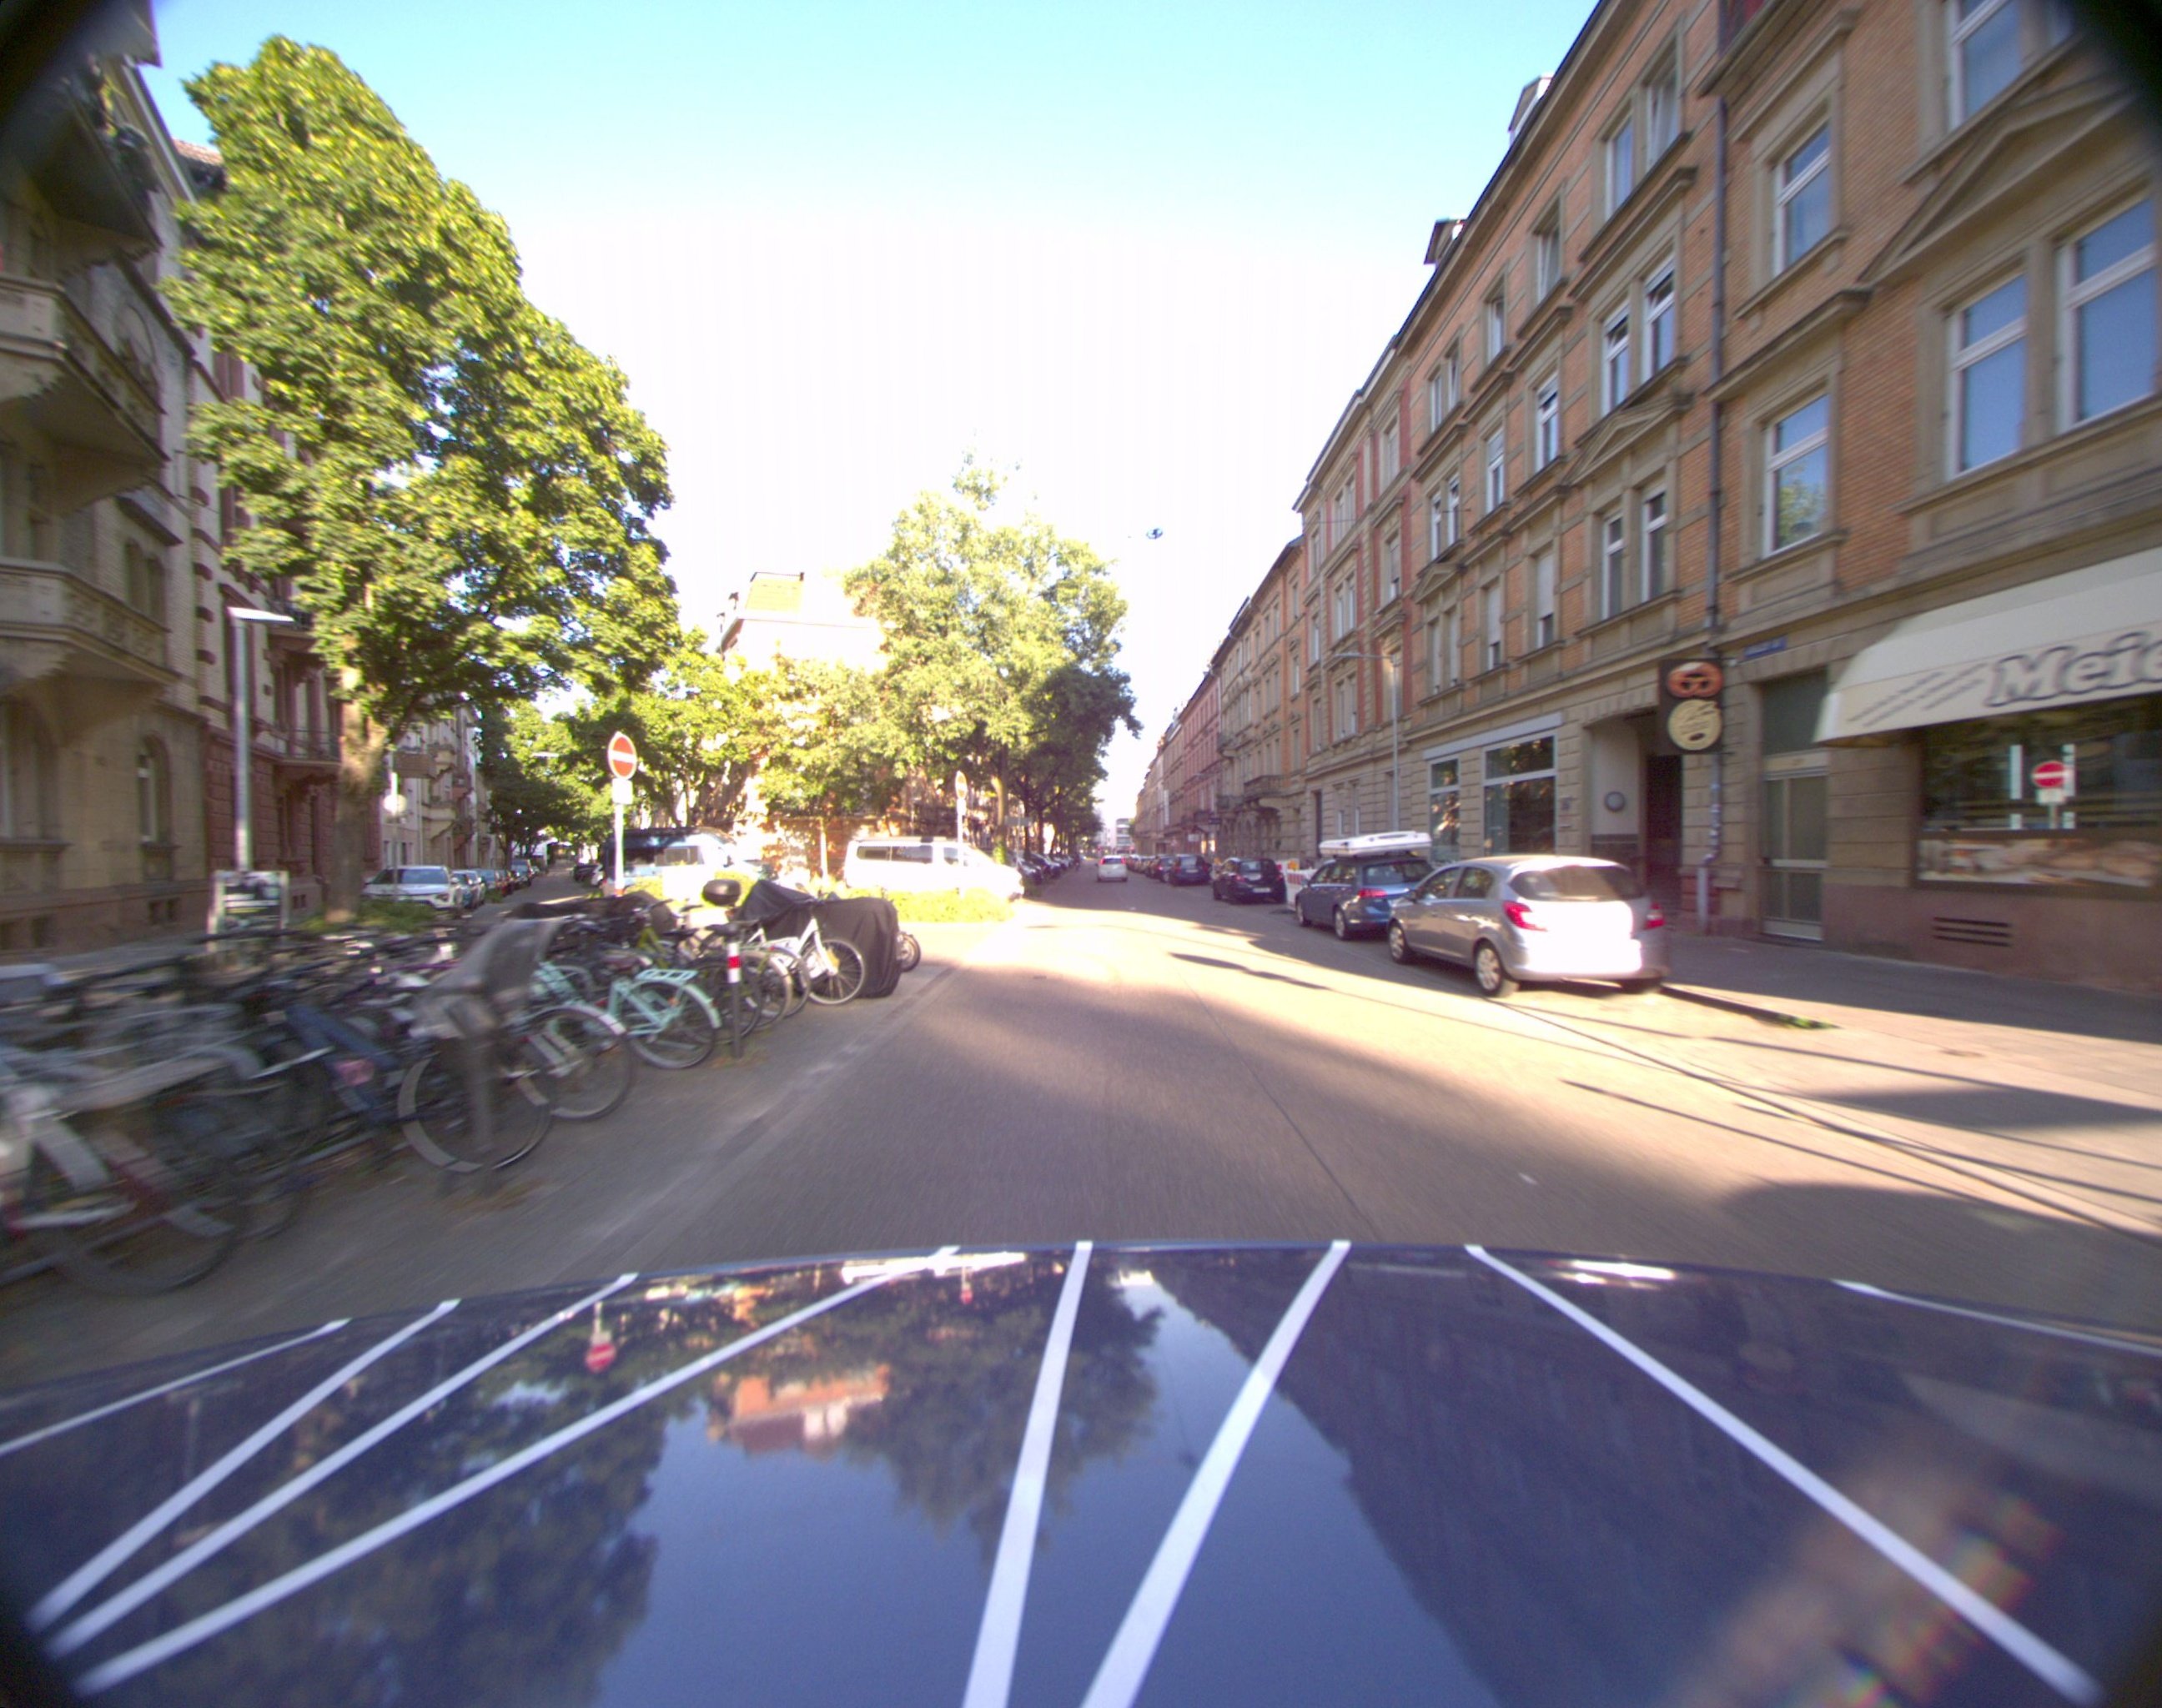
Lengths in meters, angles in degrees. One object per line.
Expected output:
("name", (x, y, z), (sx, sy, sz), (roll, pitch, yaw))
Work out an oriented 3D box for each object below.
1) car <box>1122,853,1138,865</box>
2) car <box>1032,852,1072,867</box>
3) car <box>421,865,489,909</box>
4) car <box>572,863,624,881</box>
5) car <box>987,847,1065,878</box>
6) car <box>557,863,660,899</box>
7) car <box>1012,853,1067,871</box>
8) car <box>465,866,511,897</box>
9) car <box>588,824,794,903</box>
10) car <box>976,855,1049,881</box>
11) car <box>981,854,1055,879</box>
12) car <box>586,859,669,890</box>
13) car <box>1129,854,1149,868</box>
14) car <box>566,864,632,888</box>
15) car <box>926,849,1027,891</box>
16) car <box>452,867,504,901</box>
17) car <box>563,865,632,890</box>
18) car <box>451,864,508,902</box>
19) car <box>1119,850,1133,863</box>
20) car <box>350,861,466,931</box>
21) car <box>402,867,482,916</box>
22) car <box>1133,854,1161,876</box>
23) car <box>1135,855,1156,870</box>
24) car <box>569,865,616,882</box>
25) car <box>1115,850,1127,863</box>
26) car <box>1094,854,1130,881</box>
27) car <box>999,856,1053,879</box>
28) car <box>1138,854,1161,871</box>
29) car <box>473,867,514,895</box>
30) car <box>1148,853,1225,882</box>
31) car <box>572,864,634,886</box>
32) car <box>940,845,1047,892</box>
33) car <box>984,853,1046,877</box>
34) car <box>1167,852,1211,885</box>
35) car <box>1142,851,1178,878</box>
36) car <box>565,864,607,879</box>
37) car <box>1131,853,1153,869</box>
("car", (6.413, 0.622, 99.555), (1.761, 1.464, 4.088), (-1, 0, 0))
("car", (-3.299, 0.618, 86.634), (4.487, 1.647, 1.891), (-1, 2, 0))
("car", (-25.164, 1.271, 30.651), (1.871, 1.573, 4.233), (-1, 0, -36))
("car", (-49.357, 1.836, 77.733), (4.001, 1.710, 1.780), (-2, 1, -11))
("car", (-3.733, 0.543, 52.105), (5.104, 1.930, 2.157), (-1, 4, 1))
("car", (-23.720, 1.327, 38.297), (4.002, 1.556, 1.779), (-2, 1, -14))
("car", (-3.537, 0.702, 65.522), (4.563, 1.520, 2.000), (0, 0, 2))
("car", (-32.896, 1.475, 42.242), (1.871, 1.573, 4.233), (-1, 0, -36))
("car", (-13.476, 0.305, 26.641), (5.912, 2.522, 2.379), (-1, 1, -5))
("car", (-3.979, 0.790, 44.505), (4.091, 1.489, 1.843), (0, 0, 1))
("car", (-3.820, 0.764, 46.712), (4.380, 1.447, 1.934), (0, 0, 1))
("car", (-27.908, 1.266, 46.868), (4.001, 1.710, 1.780), (-2, 1, -11))
("car", (6.148, 0.706, 81.459), (1.825, 1.417, 4.313), (-2, 0, 1))
("car", (-38.369, 1.739, 60.516), (4.001, 1.710, 1.780), (-2, 1, -11))
("car", (-4.310, 0.651, 31.905), (3.997, 1.682, 1.800), (0, 0, -1))
("car", (-30.331, 1.465, 38.332), (1.871, 1.573, 4.233), (-1, 0, -36))
("car", (-37.161, 1.811, 58.490), (4.001, 1.710, 1.780), (-2, 1, -11))
("car", (-27.338, 1.278, 34.636), (1.871, 1.573, 4.233), (-1, 0, -36))
("car", (6.744, 0.331, 114.989), (1.847, 1.822, 4.606), (-2, 0, 0))
("car", (-17.564, 1.006, 20.028), (1.784, 1.601, 4.207), (-1, 0, -35))
("car", (-22.345, 1.249, 26.714), (1.871, 1.466, 4.233), (-1, 0, -36))
("car", (4.738, 0.769, 54.810), (1.651, 1.464, 4.000), (-3, 0, 1))
("car", (5.916, 0.780, 70.039), (1.709, 1.315, 4.101), (0, 0, 1))
("car", (-54.984, 2.187, 85.568), (4.001, 1.710, 1.780), (-2, 1, -11))
("car", (6.976, 0.419, 132.286), (1.947, 2.045, 4.745), (-2, 0, 1))
("car", (1.746, 0.759, 44.171), (1.754, 1.500, 3.999), (-1, 0, -2))
("car", (-4.092, 1.014, 56.804), (3.894, 1.639, 1.724), (0, 0, -1))
("car", (5.881, 0.726, 65.359), (1.709, 1.430, 3.959), (0, 0, 1))
("car", (-35.951, 1.596, 46.567), (1.871, 1.573, 4.233), (-1, 0, -36))
("car", (5.882, 0.738, 42.560), (3.999, 1.521, 1.825), (0, 0, -5))
("car", (-40.950, 1.806, 65.176), (4.001, 1.710, 1.780), (-2, 1, -11))
("car", (-3.892, 0.629, 34.413), (4.627, 2.002, 2.000), (-1, 0, -1))
("car", (-4.320, 0.721, 49.561), (3.999, 1.466, 1.781), (1, 0, -7))
("car", (5.452, 0.691, 38.785), (1.745, 1.558, 3.895), (0, 0, 1))
("car", (5.185, 0.668, 50.223), (1.652, 1.565, 4.048), (-3, 0, -3))
("car", (-62.473, 2.216, 96.016), (4.001, 1.710, 1.780), (-2, 1, -11))
("car", (5.982, 0.645, 74.913), (1.825, 1.468, 4.423), (-2, 0, 1))
